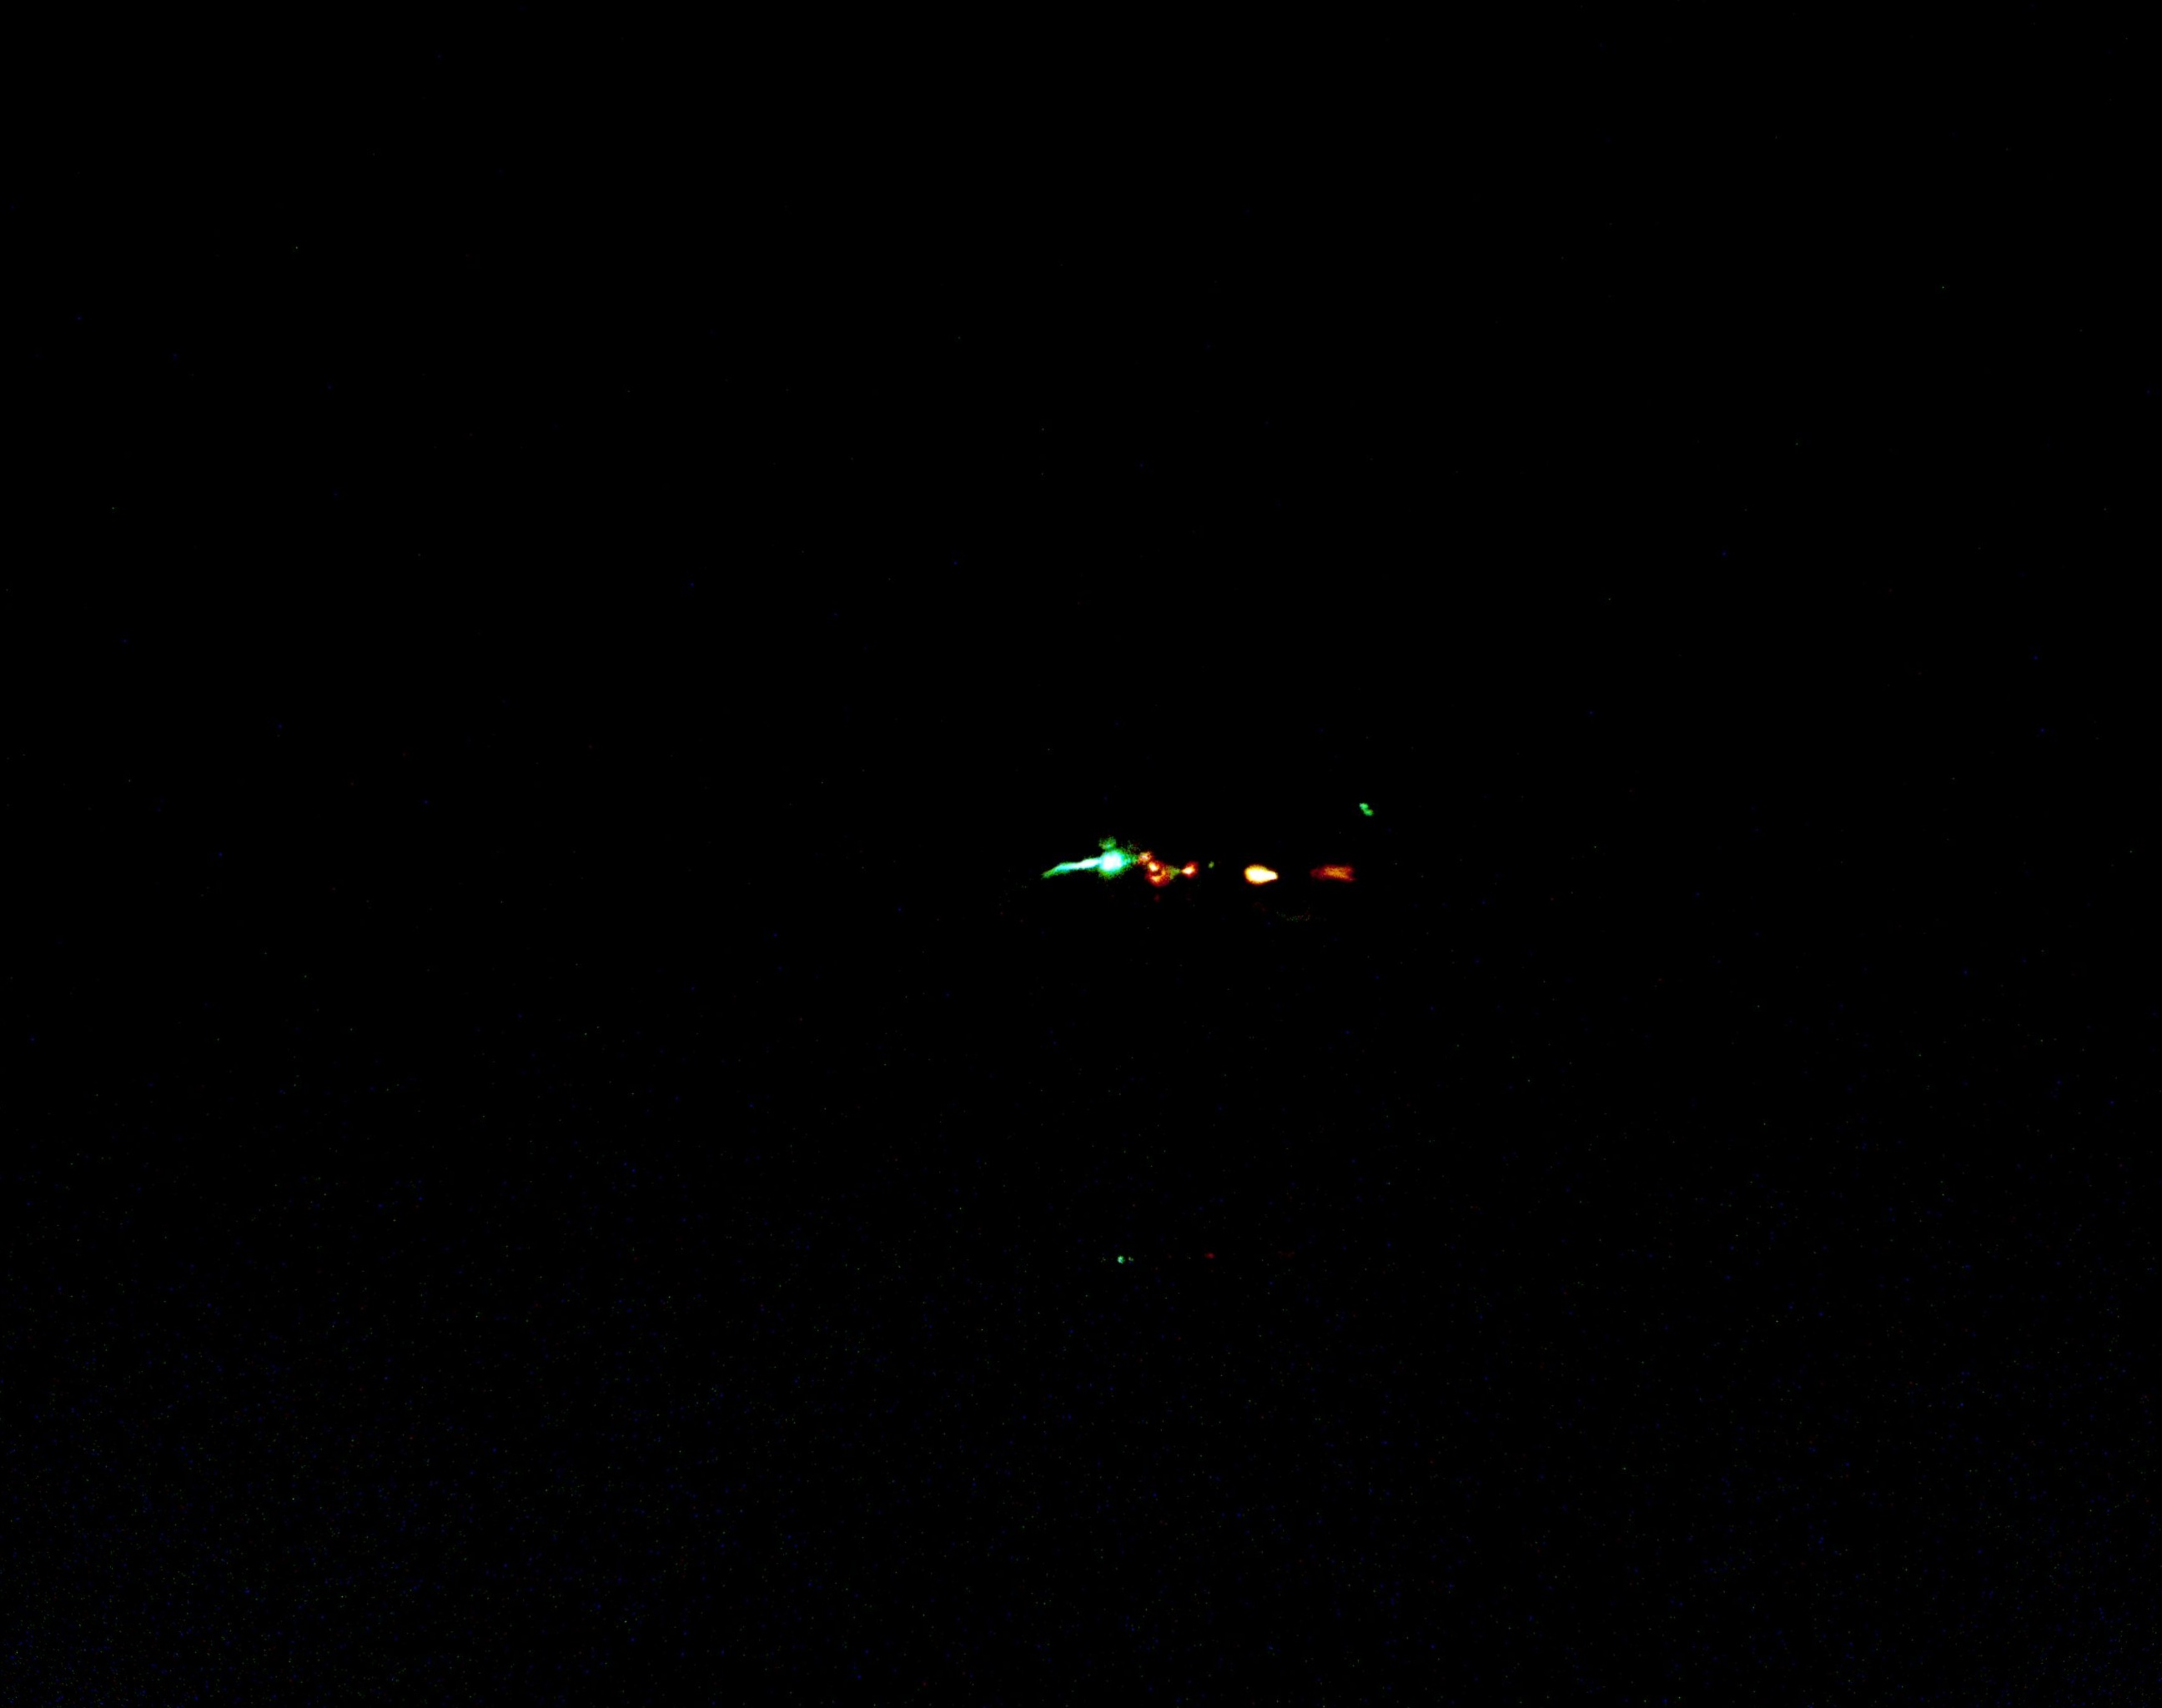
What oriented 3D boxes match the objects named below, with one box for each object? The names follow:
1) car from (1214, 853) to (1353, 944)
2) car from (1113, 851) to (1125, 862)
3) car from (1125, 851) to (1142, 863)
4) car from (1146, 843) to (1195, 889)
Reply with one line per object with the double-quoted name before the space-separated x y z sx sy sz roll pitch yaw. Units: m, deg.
"car" 3.690 0.745 14.416 1.669 1.447 3.426 -2 0 0
"car" 5.716 0.339 114.959 1.746 1.623 3.736 -2 0 3
"car" 6.367 0.351 92.352 1.837 1.474 4.069 -2 0 1
"car" 3.913 0.491 33.958 1.837 1.860 4.429 -2 0 3
